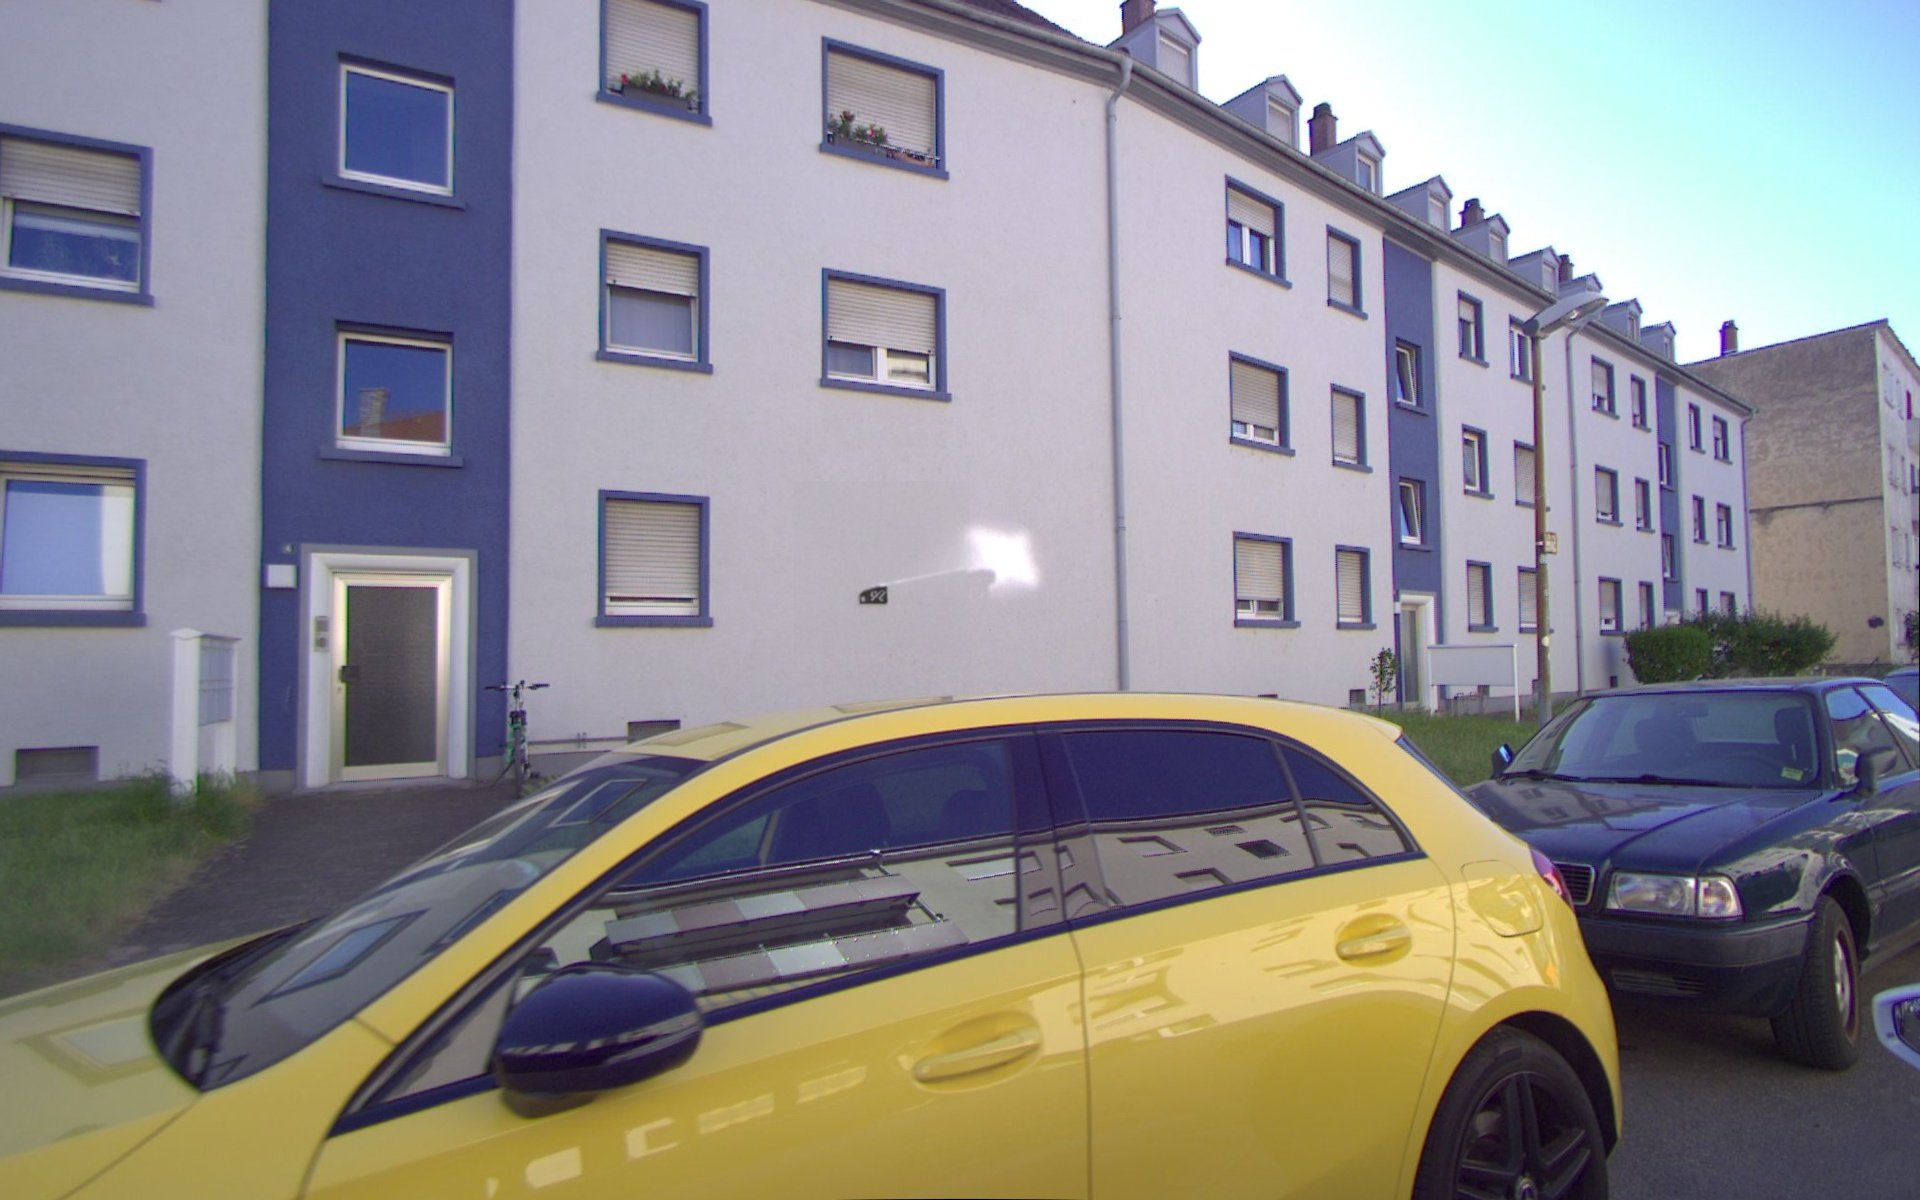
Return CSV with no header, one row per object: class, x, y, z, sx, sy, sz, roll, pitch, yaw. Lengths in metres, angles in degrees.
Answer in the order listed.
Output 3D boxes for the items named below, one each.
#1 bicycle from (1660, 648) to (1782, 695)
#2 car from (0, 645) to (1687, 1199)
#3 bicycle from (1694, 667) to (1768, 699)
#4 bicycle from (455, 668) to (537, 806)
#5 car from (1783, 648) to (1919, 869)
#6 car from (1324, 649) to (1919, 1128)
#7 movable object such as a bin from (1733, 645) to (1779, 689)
bicycle,21.343,1.978,28.224,2.641,1.145,0.769,0,-1,44
car,-0.438,0.831,2.151,4.108,1.407,1.686,1,-4,-30
bicycle,23.141,2.502,30.174,0.543,0.948,1.635,3,-6,-37
bicycle,-4.422,1.249,9.650,0.560,1.092,1.817,1,-1,-21
car,8.078,1.142,7.803,3.592,1.495,1.471,2,-8,-33
car,3.822,1.014,4.996,4.217,1.483,1.560,2,-5,-34
movable object such as a bin,29.357,2.473,37.045,1.348,1.559,1.058,4,-6,-42
